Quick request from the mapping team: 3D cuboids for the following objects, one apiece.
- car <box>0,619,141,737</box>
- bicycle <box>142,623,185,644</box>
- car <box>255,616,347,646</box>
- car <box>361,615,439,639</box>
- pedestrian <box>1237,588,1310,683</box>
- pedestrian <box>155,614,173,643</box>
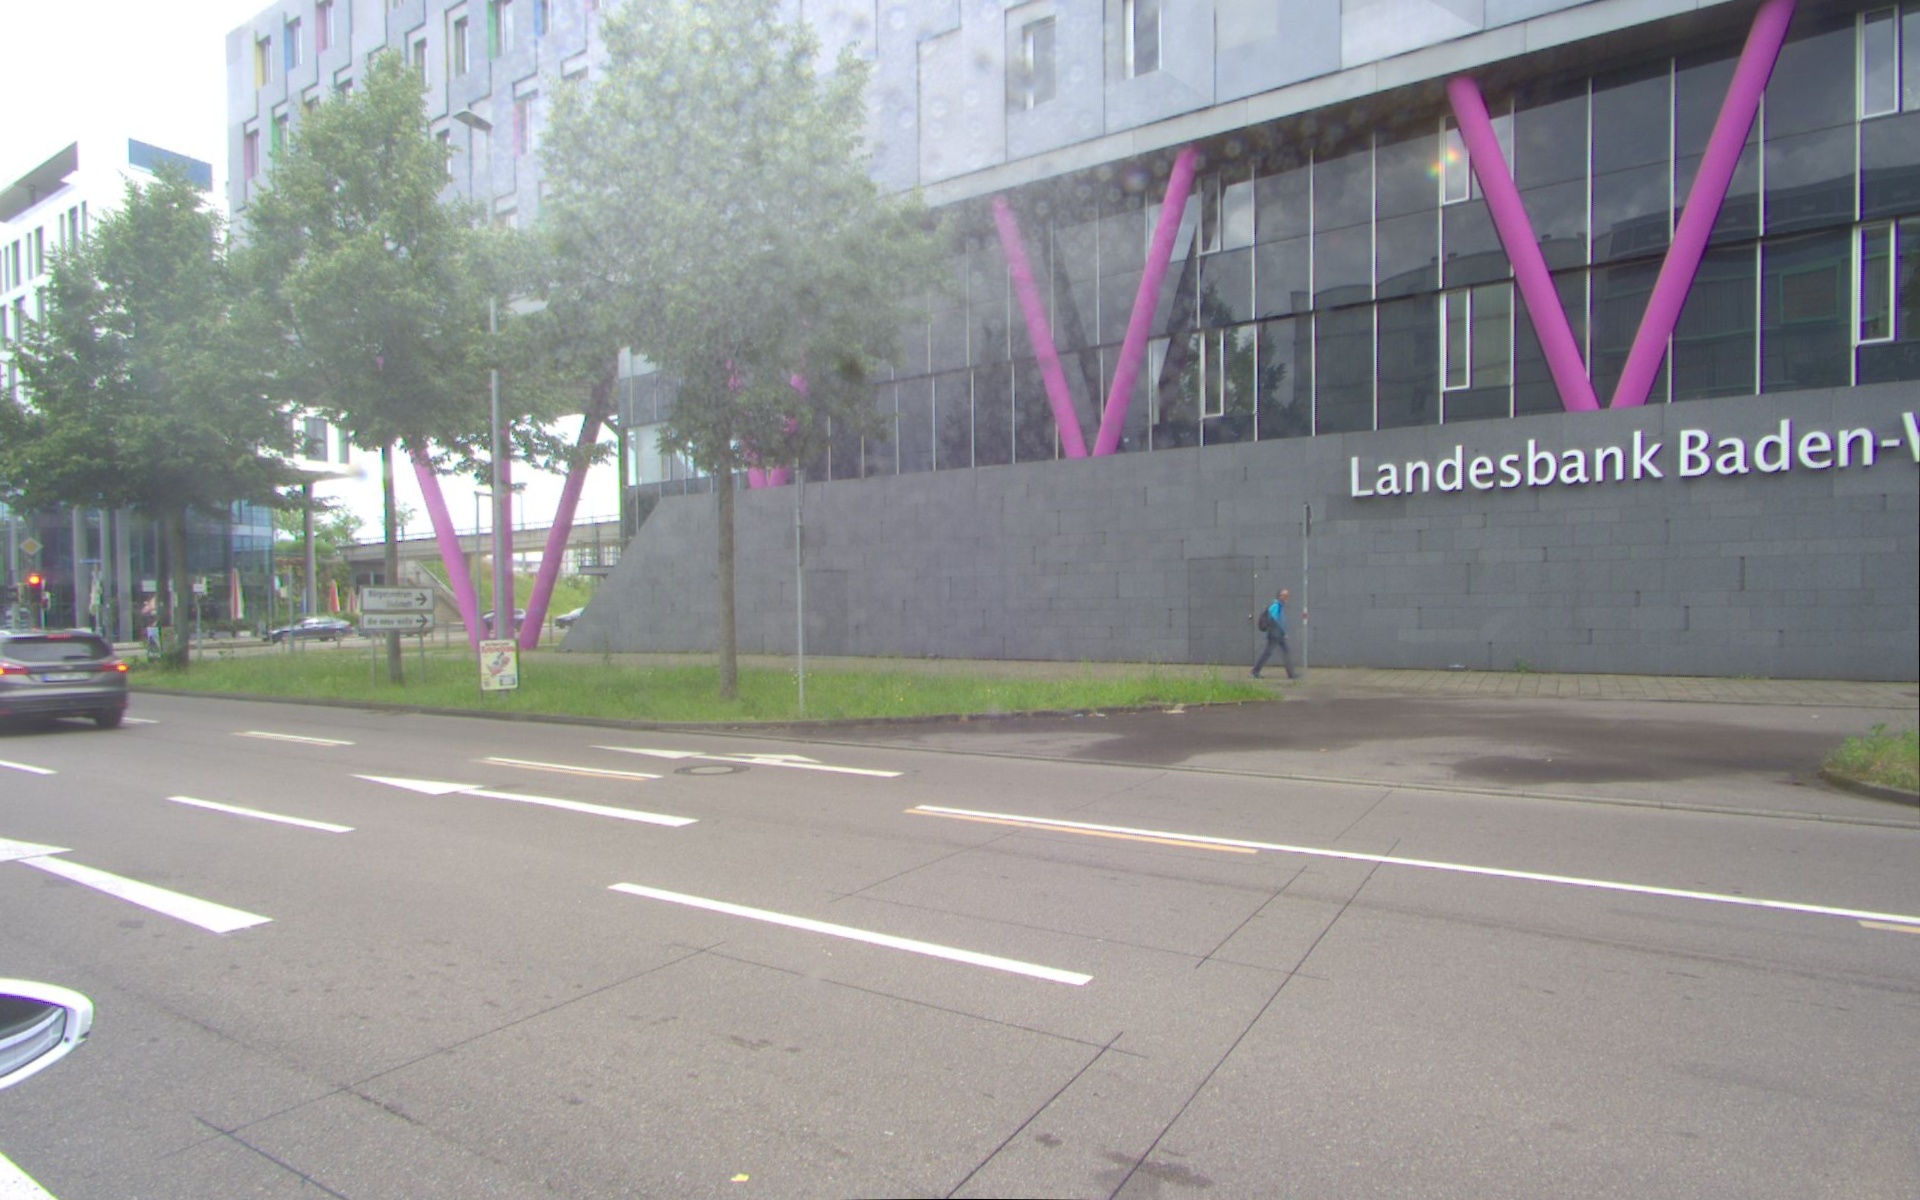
[{"bbox_3d":[-14.386,1.092,15.225,4.206,1.519,1.744,0,0,32],"label":"car"},{"bbox_3d":[-44.013,1.841,55.343,0.609,1.100,1.787,0,0,34],"label":"bicycle"},{"bbox_3d":[-39.172,1.799,59.649,1.734,1.636,4.240,0,0,34],"label":"car"},{"bbox_3d":[-36.240,1.725,64.922,1.734,1.474,4.070,0,0,34],"label":"car"},{"bbox_3d":[6.103,0.664,19.490,1.121,1.794,1.049,0,1,33],"label":"pedestrian"},{"bbox_3d":[-44.009,1.572,55.354,0.610,1.625,0.613,0,1,34],"label":"pedestrian"}]
